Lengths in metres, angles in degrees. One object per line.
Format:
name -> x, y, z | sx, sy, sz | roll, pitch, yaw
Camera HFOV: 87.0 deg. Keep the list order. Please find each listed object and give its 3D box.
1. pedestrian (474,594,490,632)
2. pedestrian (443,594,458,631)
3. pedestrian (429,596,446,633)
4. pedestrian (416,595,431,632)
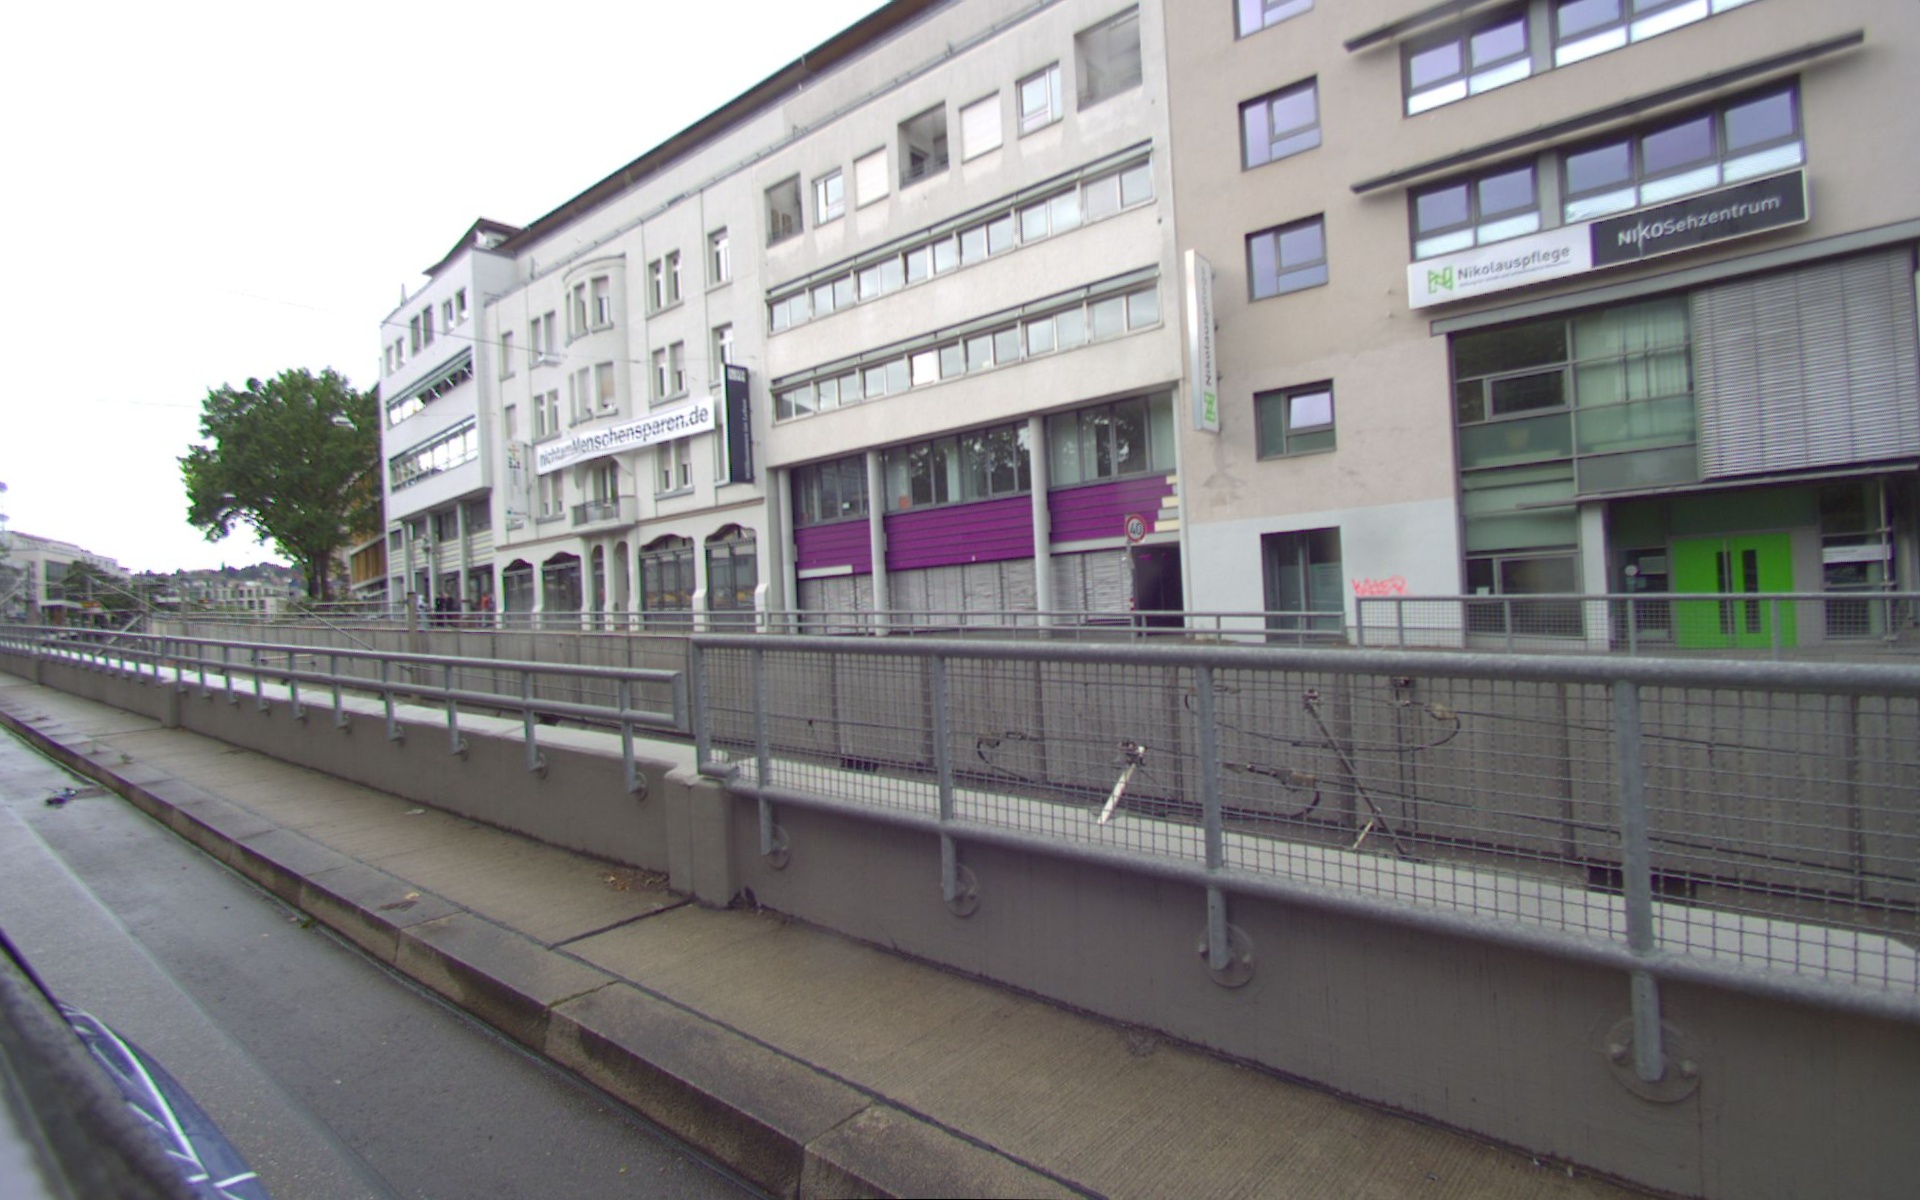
pedestrian -> -23.028, 0.625, 48.754 | 0.547, 1.816, 0.464 | -1, 1, 40
pedestrian -> -25.419, 0.622, 50.476 | 0.547, 1.816, 0.463 | -2, 1, 44
pedestrian -> -26.433, 0.722, 51.225 | 0.469, 1.816, 0.541 | -2, 1, 33
pedestrian -> -26.790, 0.667, 50.517 | 0.463, 1.816, 0.548 | -3, 1, -42
